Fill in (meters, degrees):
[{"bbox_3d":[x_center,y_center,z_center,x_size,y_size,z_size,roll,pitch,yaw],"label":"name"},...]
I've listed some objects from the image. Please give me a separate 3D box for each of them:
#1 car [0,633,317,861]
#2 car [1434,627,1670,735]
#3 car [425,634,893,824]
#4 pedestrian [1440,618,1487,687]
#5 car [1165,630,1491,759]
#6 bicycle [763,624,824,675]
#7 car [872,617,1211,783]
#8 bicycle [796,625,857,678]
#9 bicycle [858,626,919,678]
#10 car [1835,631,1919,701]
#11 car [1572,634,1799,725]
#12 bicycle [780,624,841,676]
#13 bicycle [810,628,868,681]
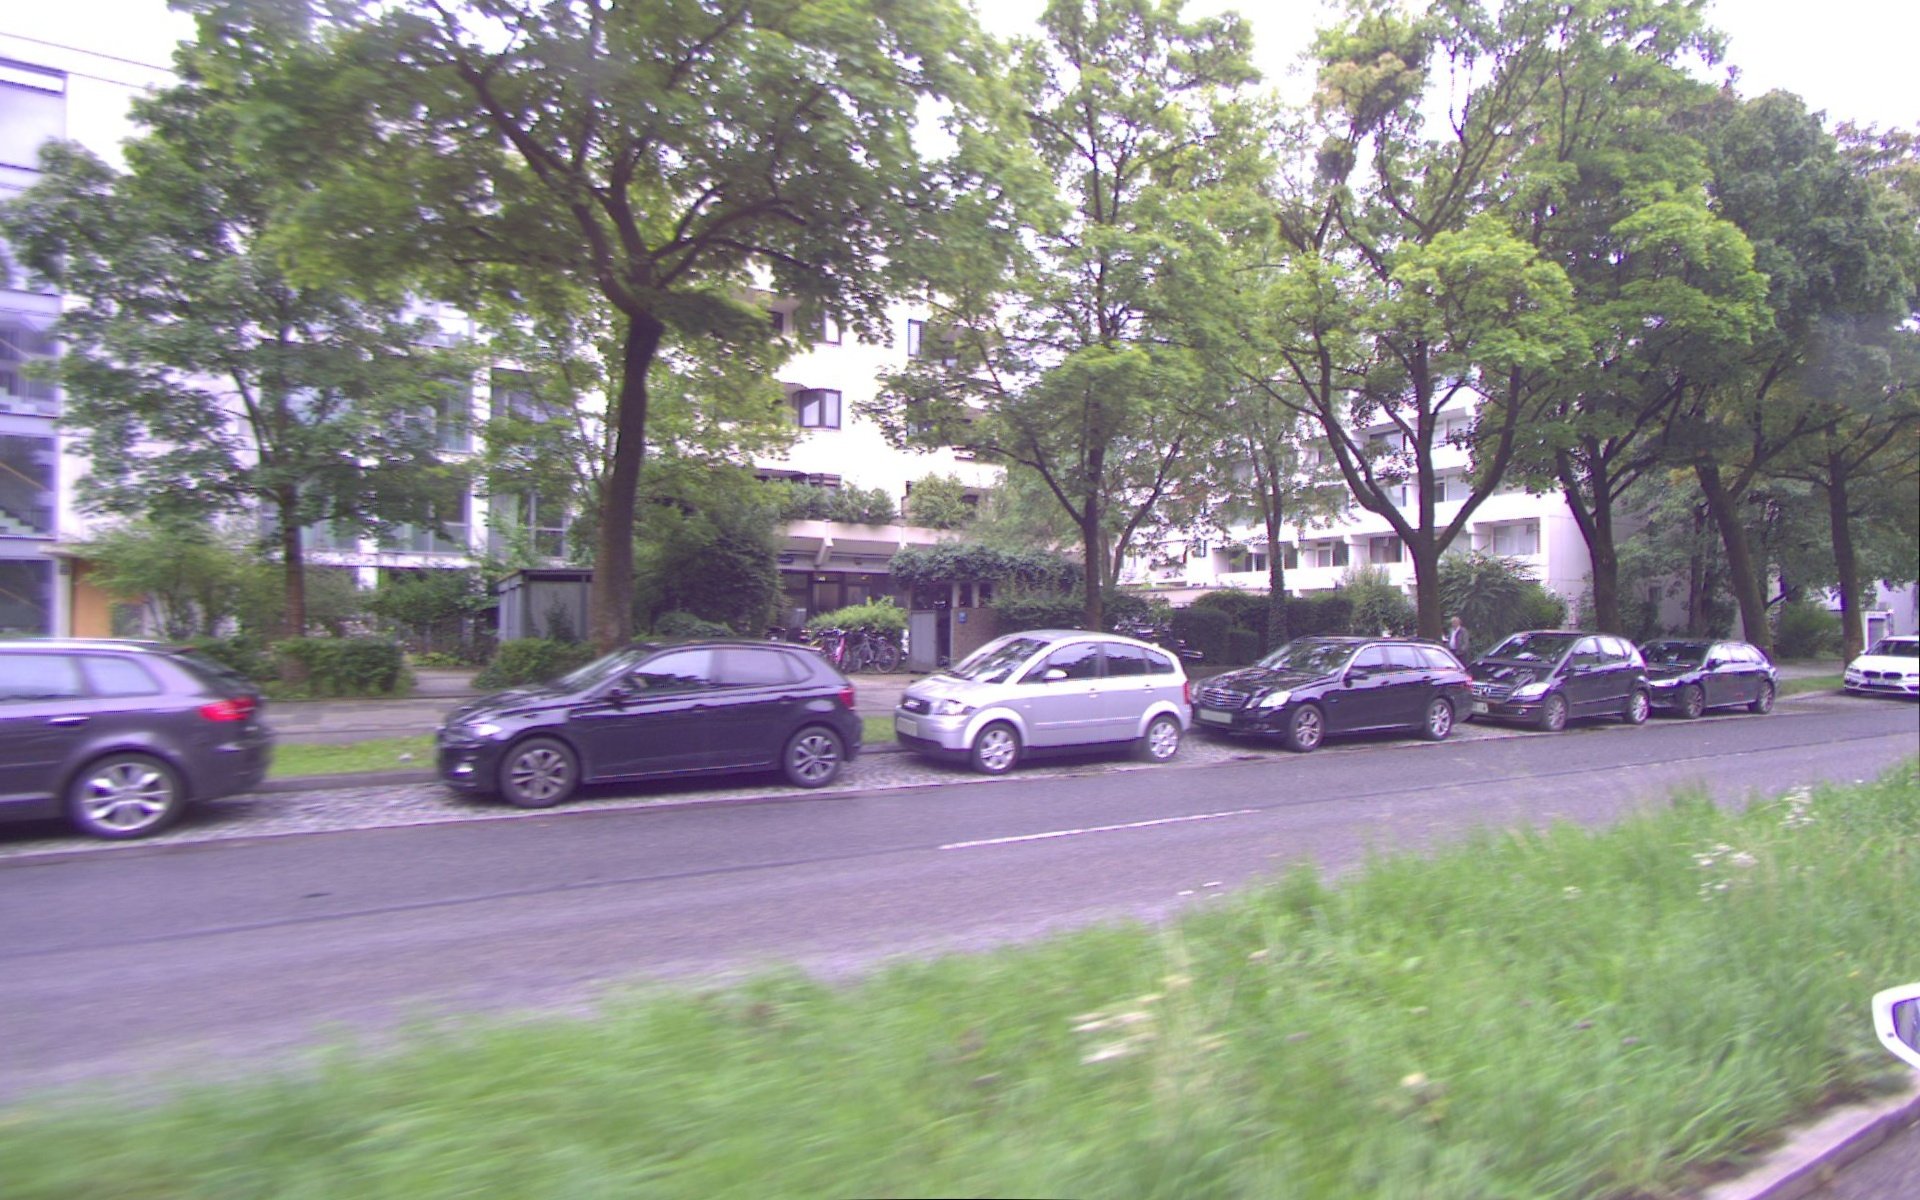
[{"bbox_3d":[-7.216,1.006,7.184,4.312,1.442,1.572,1,1,-31],"label":"car"},{"bbox_3d":[10.344,1.326,17.504,4.159,1.618,1.678,1,1,-30],"label":"car"},{"bbox_3d":[-2.877,1.099,9.824,4.141,1.442,1.618,1,1,-29],"label":"car"},{"bbox_3d":[12.549,1.289,25.041,0.603,1.678,0.843,1,-2,-36],"label":"pedestrian"},{"bbox_3d":[5.474,1.256,14.710,4.976,1.545,1.707,1,1,-31],"label":"car"},{"bbox_3d":[-4.216,1.242,25.588,0.522,1.243,1.859,0,-2,27],"label":"bicycle"},{"bbox_3d":[1.027,1.089,12.148,3.821,1.670,1.618,1,1,-29],"label":"car"},{"bbox_3d":[-3.279,1.253,24.819,0.522,1.243,1.859,0,-2,27],"label":"bicycle"},{"bbox_3d":[-1.778,1.273,24.834,0.527,1.243,1.840,1,-2,-40],"label":"bicycle"},{"bbox_3d":[24.606,1.648,25.923,4.438,1.616,1.748,1,1,-31],"label":"car"},{"bbox_3d":[14.401,1.491,19.869,4.888,1.533,1.752,1,1,-30],"label":"car"},{"bbox_3d":[-3.726,1.241,25.218,0.522,1.243,1.859,0,-2,27],"label":"bicycle"},{"bbox_3d":[-2.900,1.289,24.191,0.522,1.243,1.861,0,-2,23],"label":"bicycle"}]
